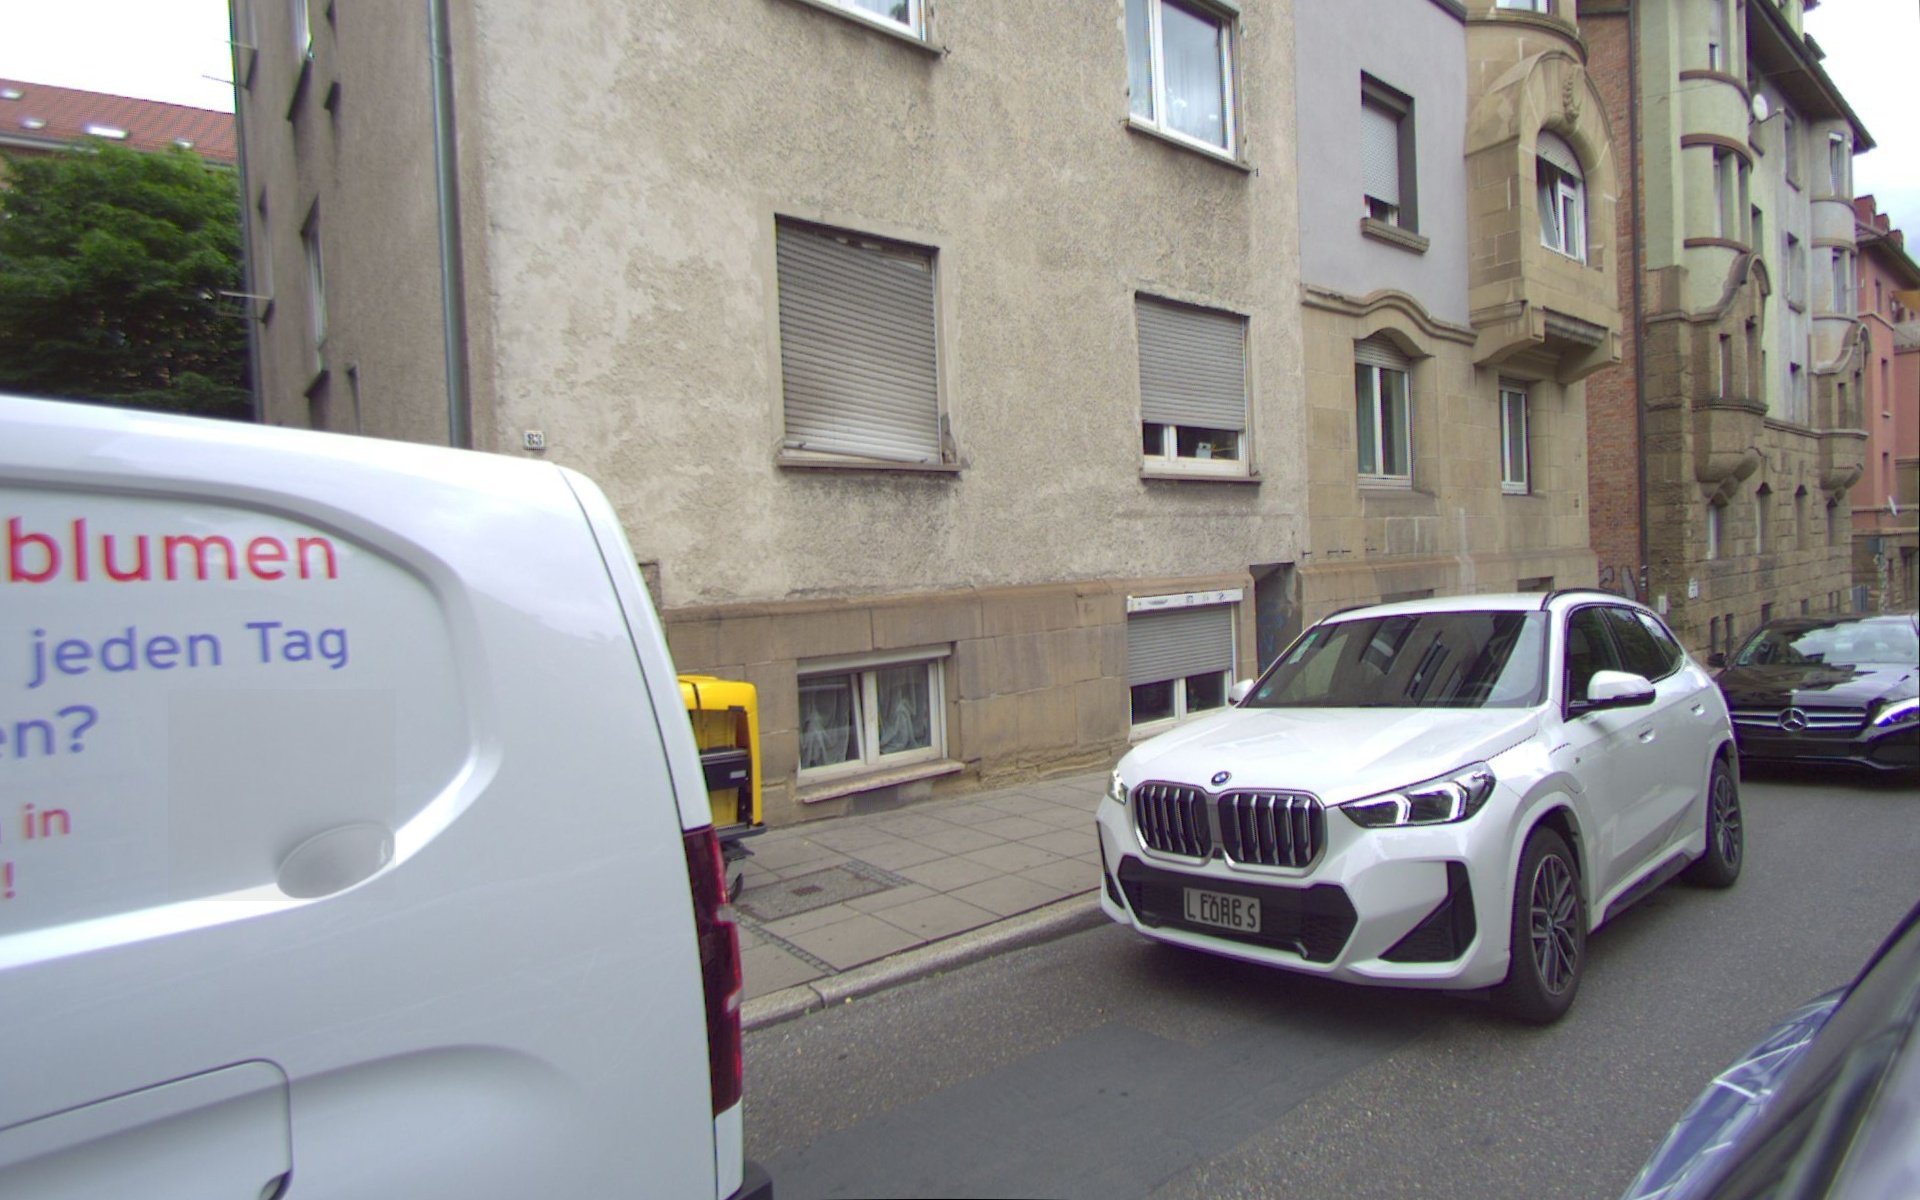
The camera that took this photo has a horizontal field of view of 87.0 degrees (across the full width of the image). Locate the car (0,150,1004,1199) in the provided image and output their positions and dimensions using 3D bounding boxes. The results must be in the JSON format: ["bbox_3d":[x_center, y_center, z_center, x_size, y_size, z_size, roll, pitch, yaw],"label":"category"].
[{"bbox_3d":[-2.295,0.535,0.960,4.597,1.798,1.977,-1,-3,-42],"label":"car"}]

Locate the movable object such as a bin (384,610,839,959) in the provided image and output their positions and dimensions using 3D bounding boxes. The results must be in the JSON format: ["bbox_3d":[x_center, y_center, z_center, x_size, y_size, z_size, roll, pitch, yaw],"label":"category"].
[{"bbox_3d":[-1.805,0.789,5.379,1.979,1.391,1.223,-1,2,-43],"label":"movable object such as a bin"}]

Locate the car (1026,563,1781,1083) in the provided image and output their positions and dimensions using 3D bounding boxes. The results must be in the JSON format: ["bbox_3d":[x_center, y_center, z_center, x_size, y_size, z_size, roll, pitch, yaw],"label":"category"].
[{"bbox_3d":[2.539,0.715,5.217,4.276,1.576,1.857,-1,-4,-42],"label":"car"}]

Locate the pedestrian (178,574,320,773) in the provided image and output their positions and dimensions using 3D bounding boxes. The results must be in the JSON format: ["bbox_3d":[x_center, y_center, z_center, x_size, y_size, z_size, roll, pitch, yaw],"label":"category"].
[{"bbox_3d":[-6.548,0.632,9.329,0.808,1.666,0.773,0,6,42],"label":"pedestrian"}]

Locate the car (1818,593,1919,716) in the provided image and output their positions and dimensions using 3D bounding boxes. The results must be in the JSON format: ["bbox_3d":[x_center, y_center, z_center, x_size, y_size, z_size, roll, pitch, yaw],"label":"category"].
[{"bbox_3d":[13.596,0.649,13.927,4.226,1.534,1.935,-1,-3,-40],"label":"car"}]

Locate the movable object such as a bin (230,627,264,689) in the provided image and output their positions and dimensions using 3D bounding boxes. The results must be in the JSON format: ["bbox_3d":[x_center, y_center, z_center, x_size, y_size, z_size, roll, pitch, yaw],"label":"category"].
[{"bbox_3d":[-10.983,0.883,15.589,0.405,0.923,0.340,0,0,-40],"label":"movable object such as a bin"}]

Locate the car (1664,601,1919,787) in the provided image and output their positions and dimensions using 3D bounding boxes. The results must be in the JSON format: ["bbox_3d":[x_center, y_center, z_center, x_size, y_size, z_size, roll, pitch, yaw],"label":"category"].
[{"bbox_3d":[8.464,0.753,9.618,4.133,1.395,1.882,-1,-3,-41],"label":"car"}]
